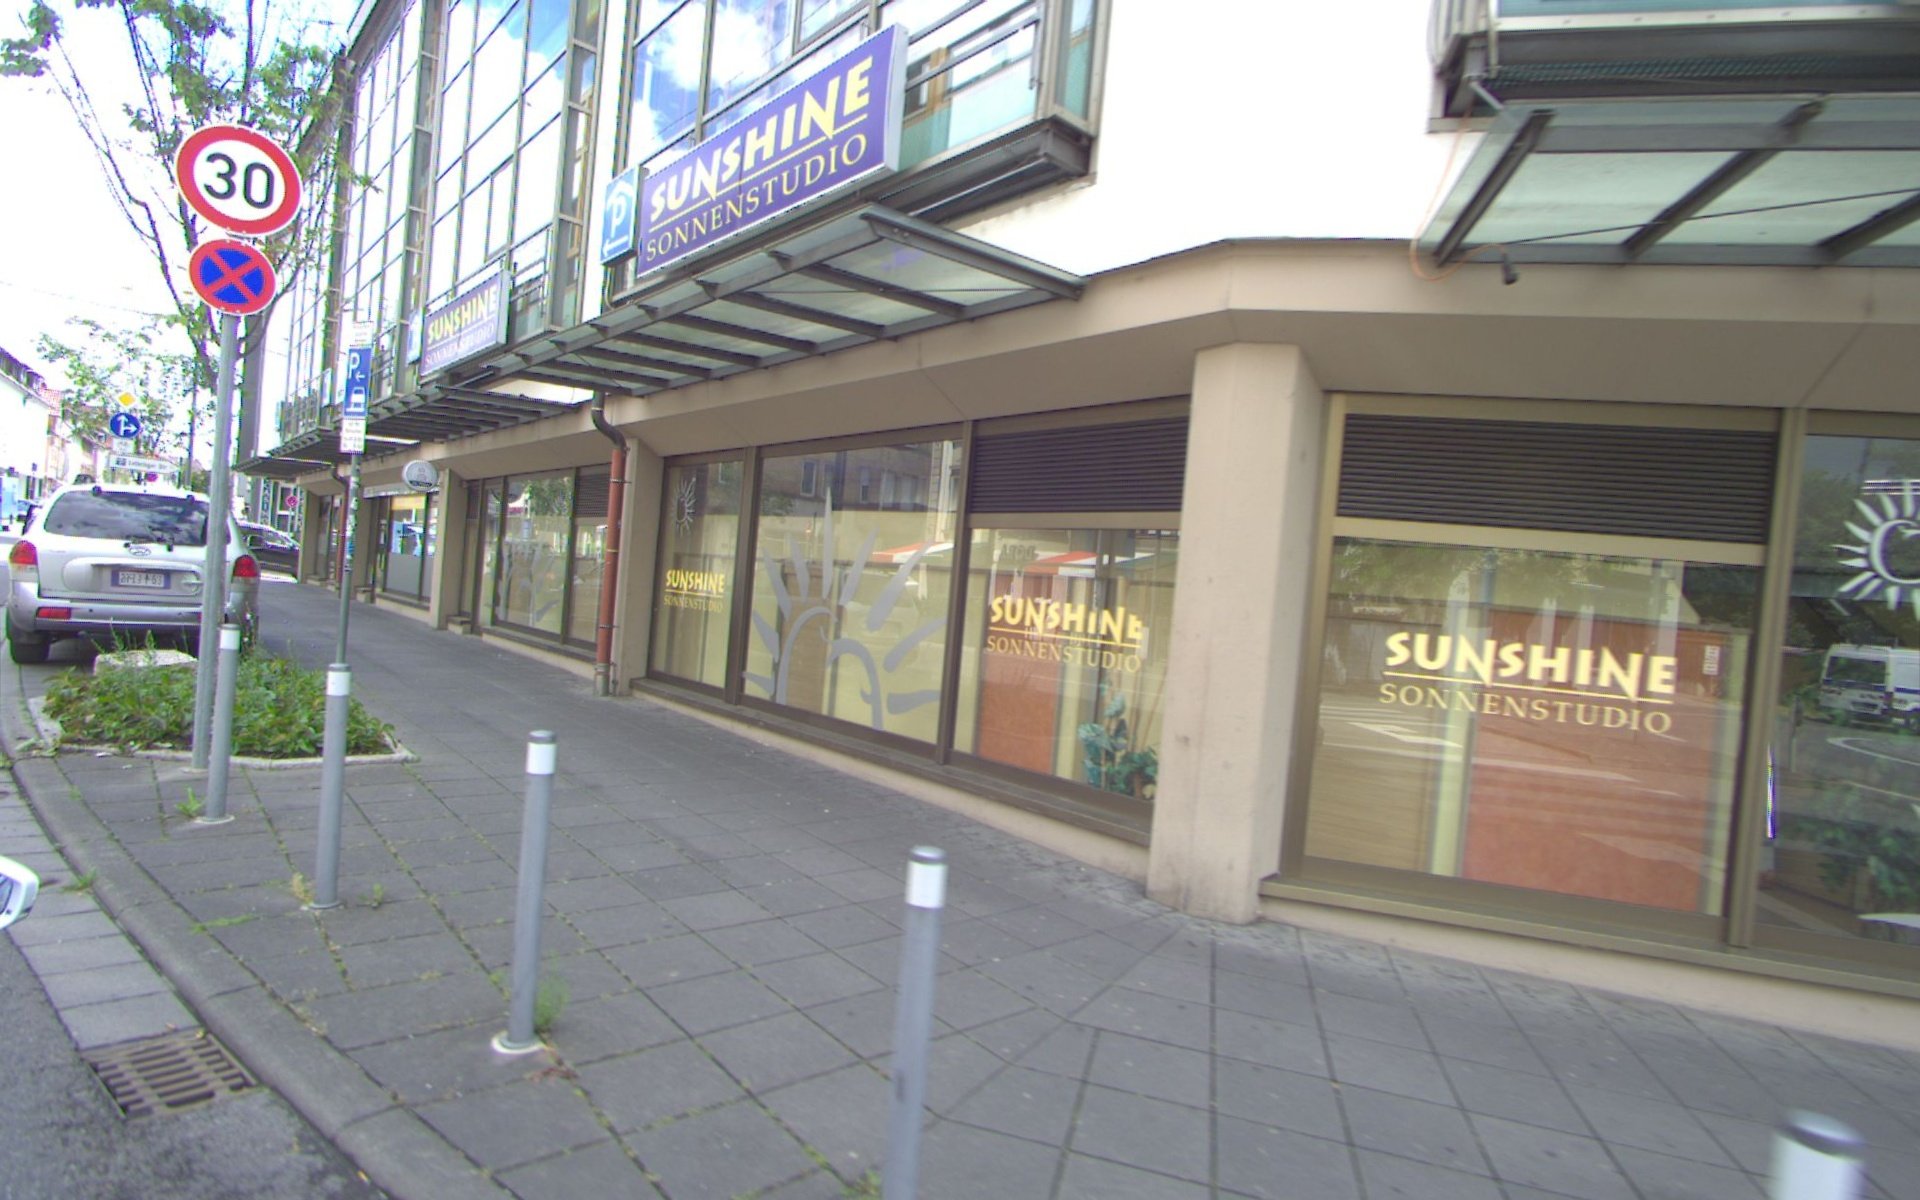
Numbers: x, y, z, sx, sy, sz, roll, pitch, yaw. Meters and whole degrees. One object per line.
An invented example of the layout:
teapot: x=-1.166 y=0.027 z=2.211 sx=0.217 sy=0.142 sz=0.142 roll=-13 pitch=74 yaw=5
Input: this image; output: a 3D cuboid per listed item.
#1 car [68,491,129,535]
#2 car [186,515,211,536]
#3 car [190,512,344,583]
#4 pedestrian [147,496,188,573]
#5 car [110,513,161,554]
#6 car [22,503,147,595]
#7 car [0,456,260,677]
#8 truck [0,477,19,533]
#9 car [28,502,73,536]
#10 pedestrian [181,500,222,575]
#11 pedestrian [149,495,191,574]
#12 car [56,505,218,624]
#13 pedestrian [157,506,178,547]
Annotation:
car: x=-44.407 y=-4.466 z=51.954 sx=1.960 sy=1.899 sz=4.986 roll=5 pitch=1 yaw=-37
car: x=-99.070 y=-9.660 z=130.945 sx=2.051 sy=2.328 sz=4.190 roll=7 pitch=-1 yaw=-32
car: x=-22.768 y=-1.687 z=33.139 sx=3.967 sy=1.728 sz=1.658 roll=8 pitch=-2 yaw=-37
pedestrian: x=-21.931 y=-1.805 z=27.835 sx=0.687 sy=2.039 sz=0.715 roll=5 pitch=1 yaw=-45
car: x=-34.046 y=-2.769 z=41.553 sx=1.513 sy=1.452 sz=3.332 roll=5 pitch=1 yaw=-40
car: x=-16.889 y=-1.030 z=19.346 sx=1.600 sy=1.452 sz=4.123 roll=5 pitch=1 yaw=-43
car: x=-8.415 y=-0.350 z=10.331 sx=1.813 sy=1.753 sz=4.191 roll=4 pitch=1 yaw=-37
truck: x=-39.727 y=-3.938 z=40.534 sx=2.055 sy=2.193 sz=5.238 roll=5 pitch=1 yaw=-38
car: x=-51.391 y=-4.577 z=56.903 sx=1.690 sy=1.605 sz=3.913 roll=6 pitch=0 yaw=-41
pedestrian: x=-21.532 y=-1.776 z=28.556 sx=0.687 sy=2.039 sz=0.715 roll=5 pitch=1 yaw=-45
pedestrian: x=-21.357 y=-1.765 z=27.191 sx=0.687 sy=2.039 sz=0.715 roll=5 pitch=1 yaw=-45
car: x=-12.431 y=-0.592 z=15.232 sx=1.613 sy=1.452 sz=4.192 roll=5 pitch=1 yaw=-40
pedestrian: x=-41.385 y=-3.854 z=52.529 sx=0.678 sy=2.039 sz=0.593 roll=6 pitch=1 yaw=-36
